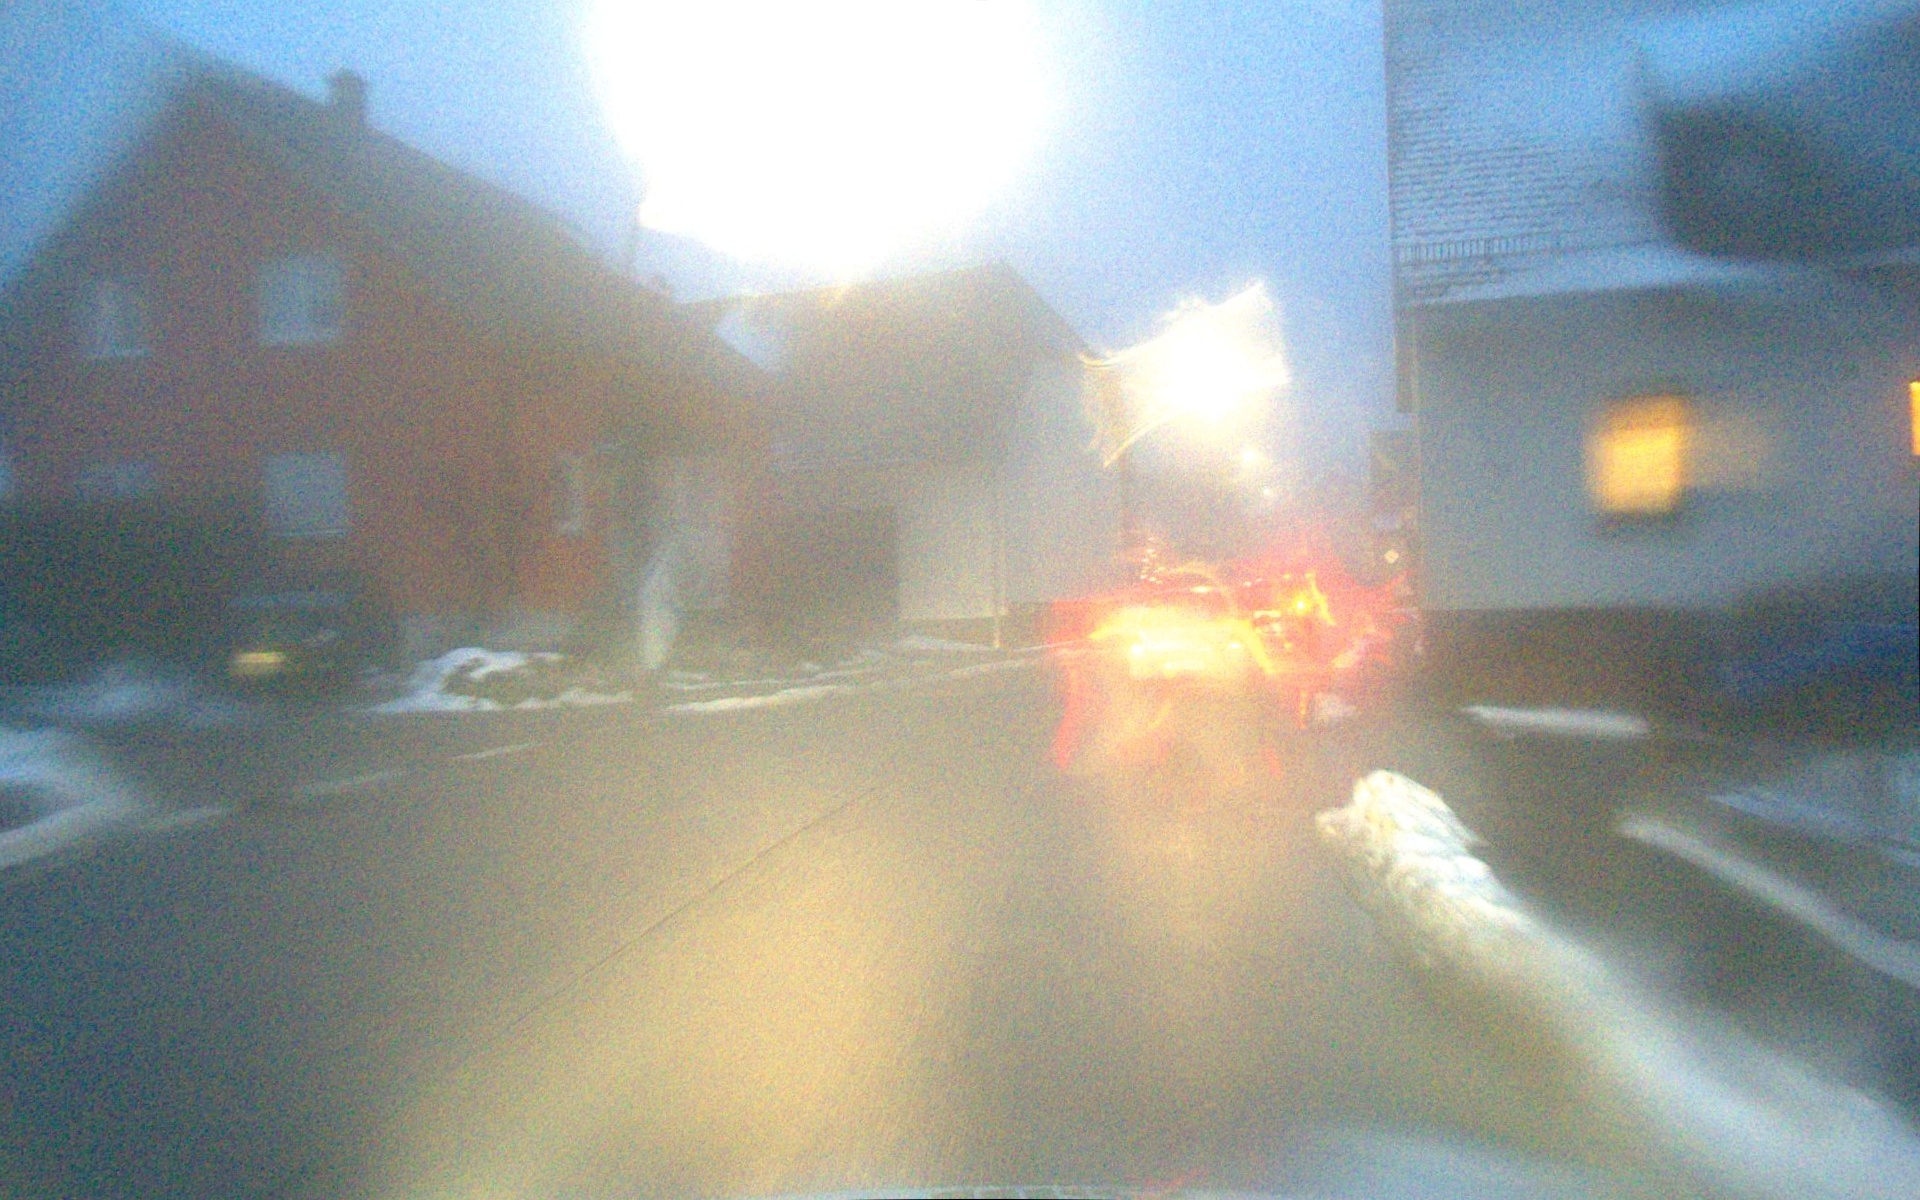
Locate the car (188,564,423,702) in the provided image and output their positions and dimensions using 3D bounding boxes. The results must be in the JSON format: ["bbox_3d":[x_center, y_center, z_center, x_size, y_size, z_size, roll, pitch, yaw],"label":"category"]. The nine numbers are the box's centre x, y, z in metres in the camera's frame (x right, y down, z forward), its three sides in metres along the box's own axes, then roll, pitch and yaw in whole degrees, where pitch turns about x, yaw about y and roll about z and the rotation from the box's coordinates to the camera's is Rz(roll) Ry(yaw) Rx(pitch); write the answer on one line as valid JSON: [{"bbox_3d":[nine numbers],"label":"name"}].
[{"bbox_3d":[-7.979,0.400,20.544,1.839,1.530,3.992,0,-1,-9],"label":"car"}]

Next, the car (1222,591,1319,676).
[{"bbox_3d":[6.345,0.653,33.534,1.610,1.624,3.702,-1,-1,16],"label":"car"}]

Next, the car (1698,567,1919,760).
[{"bbox_3d":[9.007,0.566,14.972,3.902,1.624,1.912,1,0,11],"label":"car"}]

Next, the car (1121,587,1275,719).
[{"bbox_3d":[3.286,0.672,22.313,1.610,1.624,3.702,-1,-1,15],"label":"car"}]
